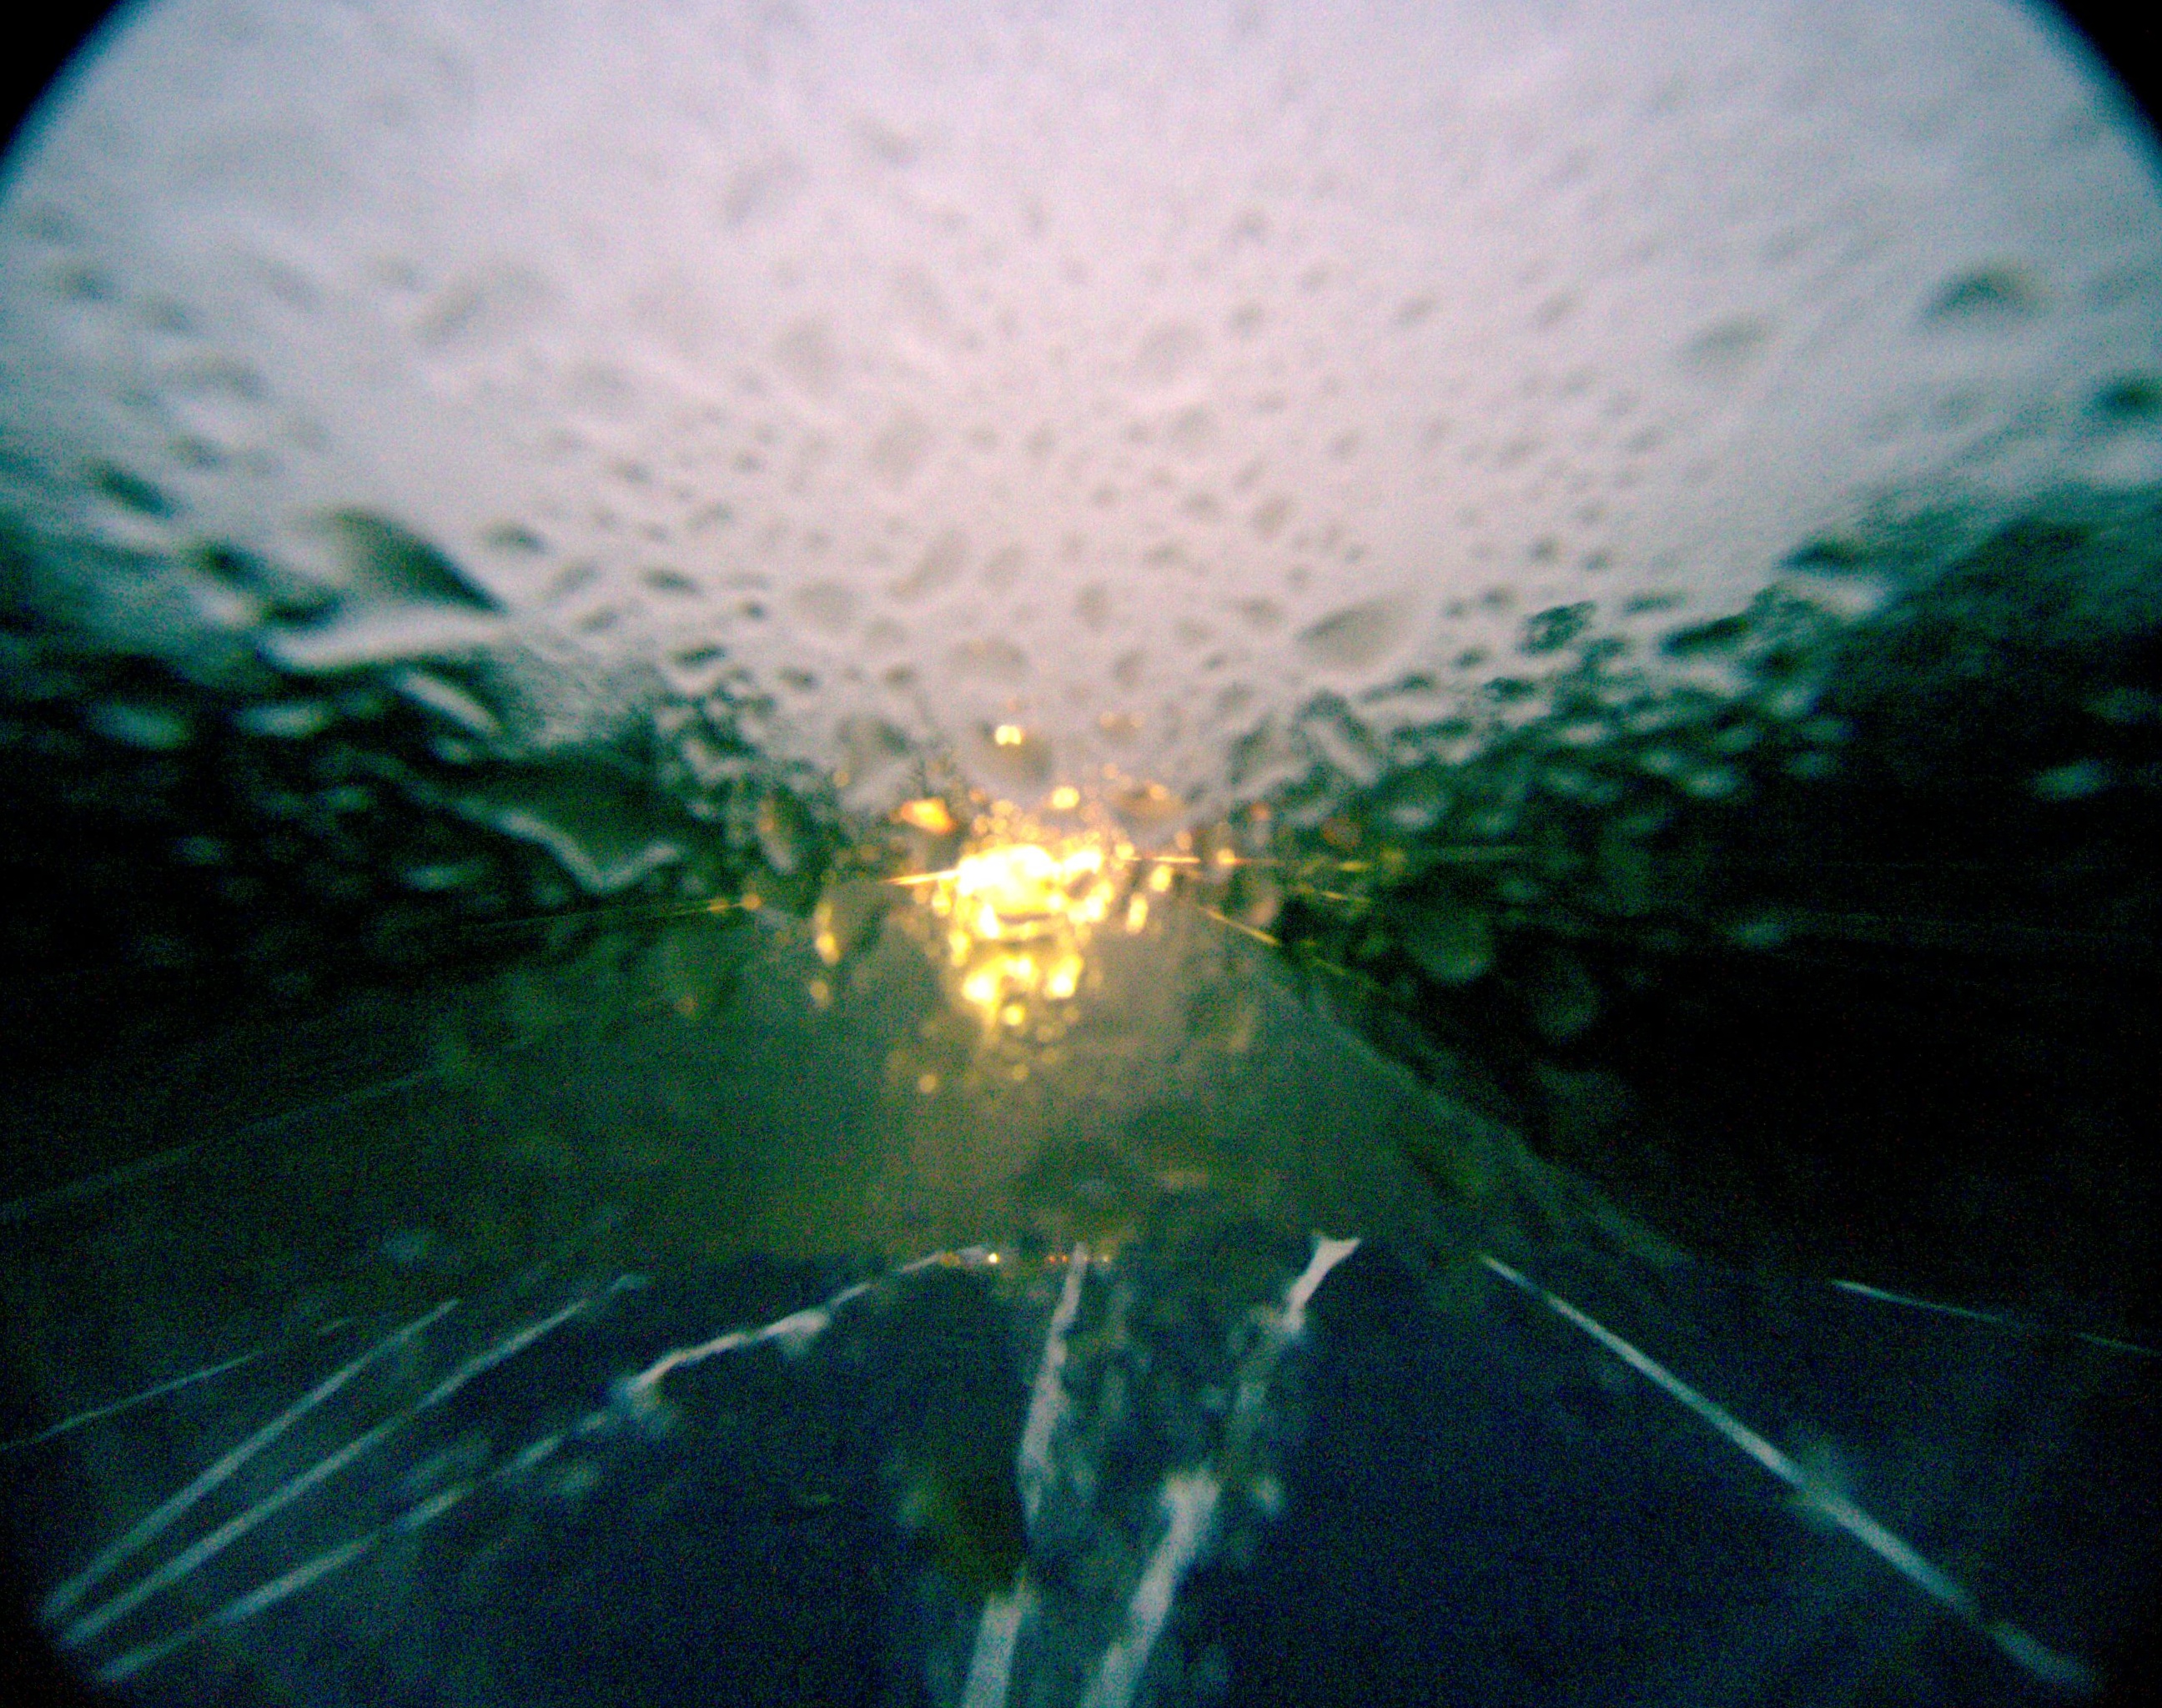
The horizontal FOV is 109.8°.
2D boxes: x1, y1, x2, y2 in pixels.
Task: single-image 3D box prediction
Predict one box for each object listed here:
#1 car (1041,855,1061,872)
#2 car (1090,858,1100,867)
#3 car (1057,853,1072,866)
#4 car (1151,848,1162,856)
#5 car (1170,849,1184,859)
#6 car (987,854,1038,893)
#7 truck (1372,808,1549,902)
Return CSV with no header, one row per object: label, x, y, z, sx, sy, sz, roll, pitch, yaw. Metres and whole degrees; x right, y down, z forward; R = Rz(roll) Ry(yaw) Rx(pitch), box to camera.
car,-2.731,0.890,70.776,1.598,1.482,3.594,-3,0,1
car,2.422,1.425,129.739,1.632,1.465,4.000,-2,0,0
car,-1.948,0.626,90.509,1.682,1.500,3.809,-3,0,1
car,14.548,-0.366,146.525,1.731,1.452,4.417,-1,0,1
car,13.397,-0.049,106.256,1.502,1.388,4.053,-1,0,1
car,-2.881,0.783,32.780,1.791,1.508,3.811,-2,0,1
truck,12.020,-0.035,24.885,2.259,2.527,7.077,-3,1,1
